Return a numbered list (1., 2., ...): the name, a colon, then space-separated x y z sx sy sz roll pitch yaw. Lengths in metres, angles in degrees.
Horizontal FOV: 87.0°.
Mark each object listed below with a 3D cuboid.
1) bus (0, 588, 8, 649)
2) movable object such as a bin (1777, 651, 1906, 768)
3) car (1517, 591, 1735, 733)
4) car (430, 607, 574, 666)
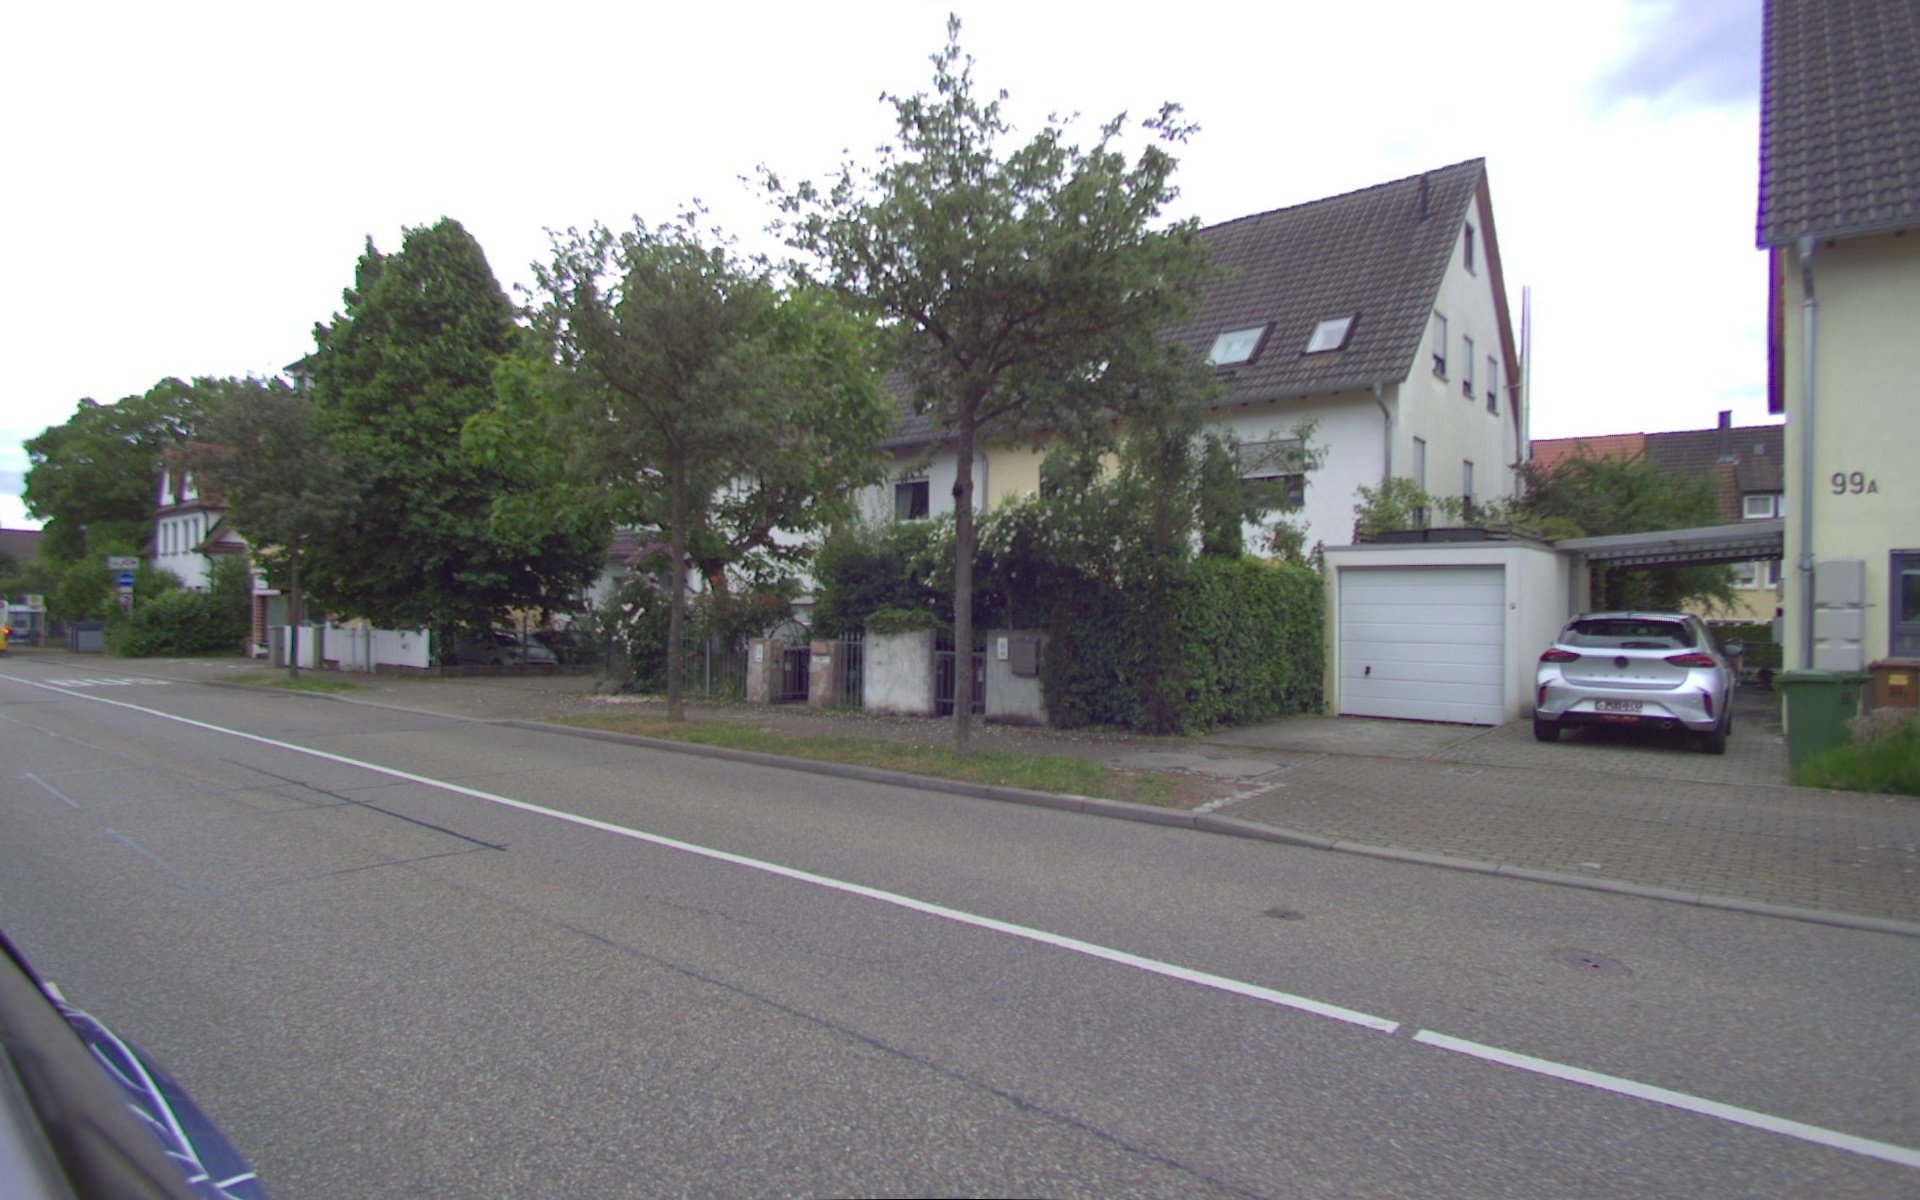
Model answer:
1. bus: -54.020 1.010 54.627 12.063 3.109 2.604 -1 -2 41
2. movable object such as a bin: 7.396 0.906 8.507 0.569 0.908 0.546 3 -1 -6
3. car: 7.910 0.585 11.854 1.754 1.296 4.026 0 1 39
4. car: -13.294 1.064 29.273 4.610 1.576 1.789 -1 -3 37
